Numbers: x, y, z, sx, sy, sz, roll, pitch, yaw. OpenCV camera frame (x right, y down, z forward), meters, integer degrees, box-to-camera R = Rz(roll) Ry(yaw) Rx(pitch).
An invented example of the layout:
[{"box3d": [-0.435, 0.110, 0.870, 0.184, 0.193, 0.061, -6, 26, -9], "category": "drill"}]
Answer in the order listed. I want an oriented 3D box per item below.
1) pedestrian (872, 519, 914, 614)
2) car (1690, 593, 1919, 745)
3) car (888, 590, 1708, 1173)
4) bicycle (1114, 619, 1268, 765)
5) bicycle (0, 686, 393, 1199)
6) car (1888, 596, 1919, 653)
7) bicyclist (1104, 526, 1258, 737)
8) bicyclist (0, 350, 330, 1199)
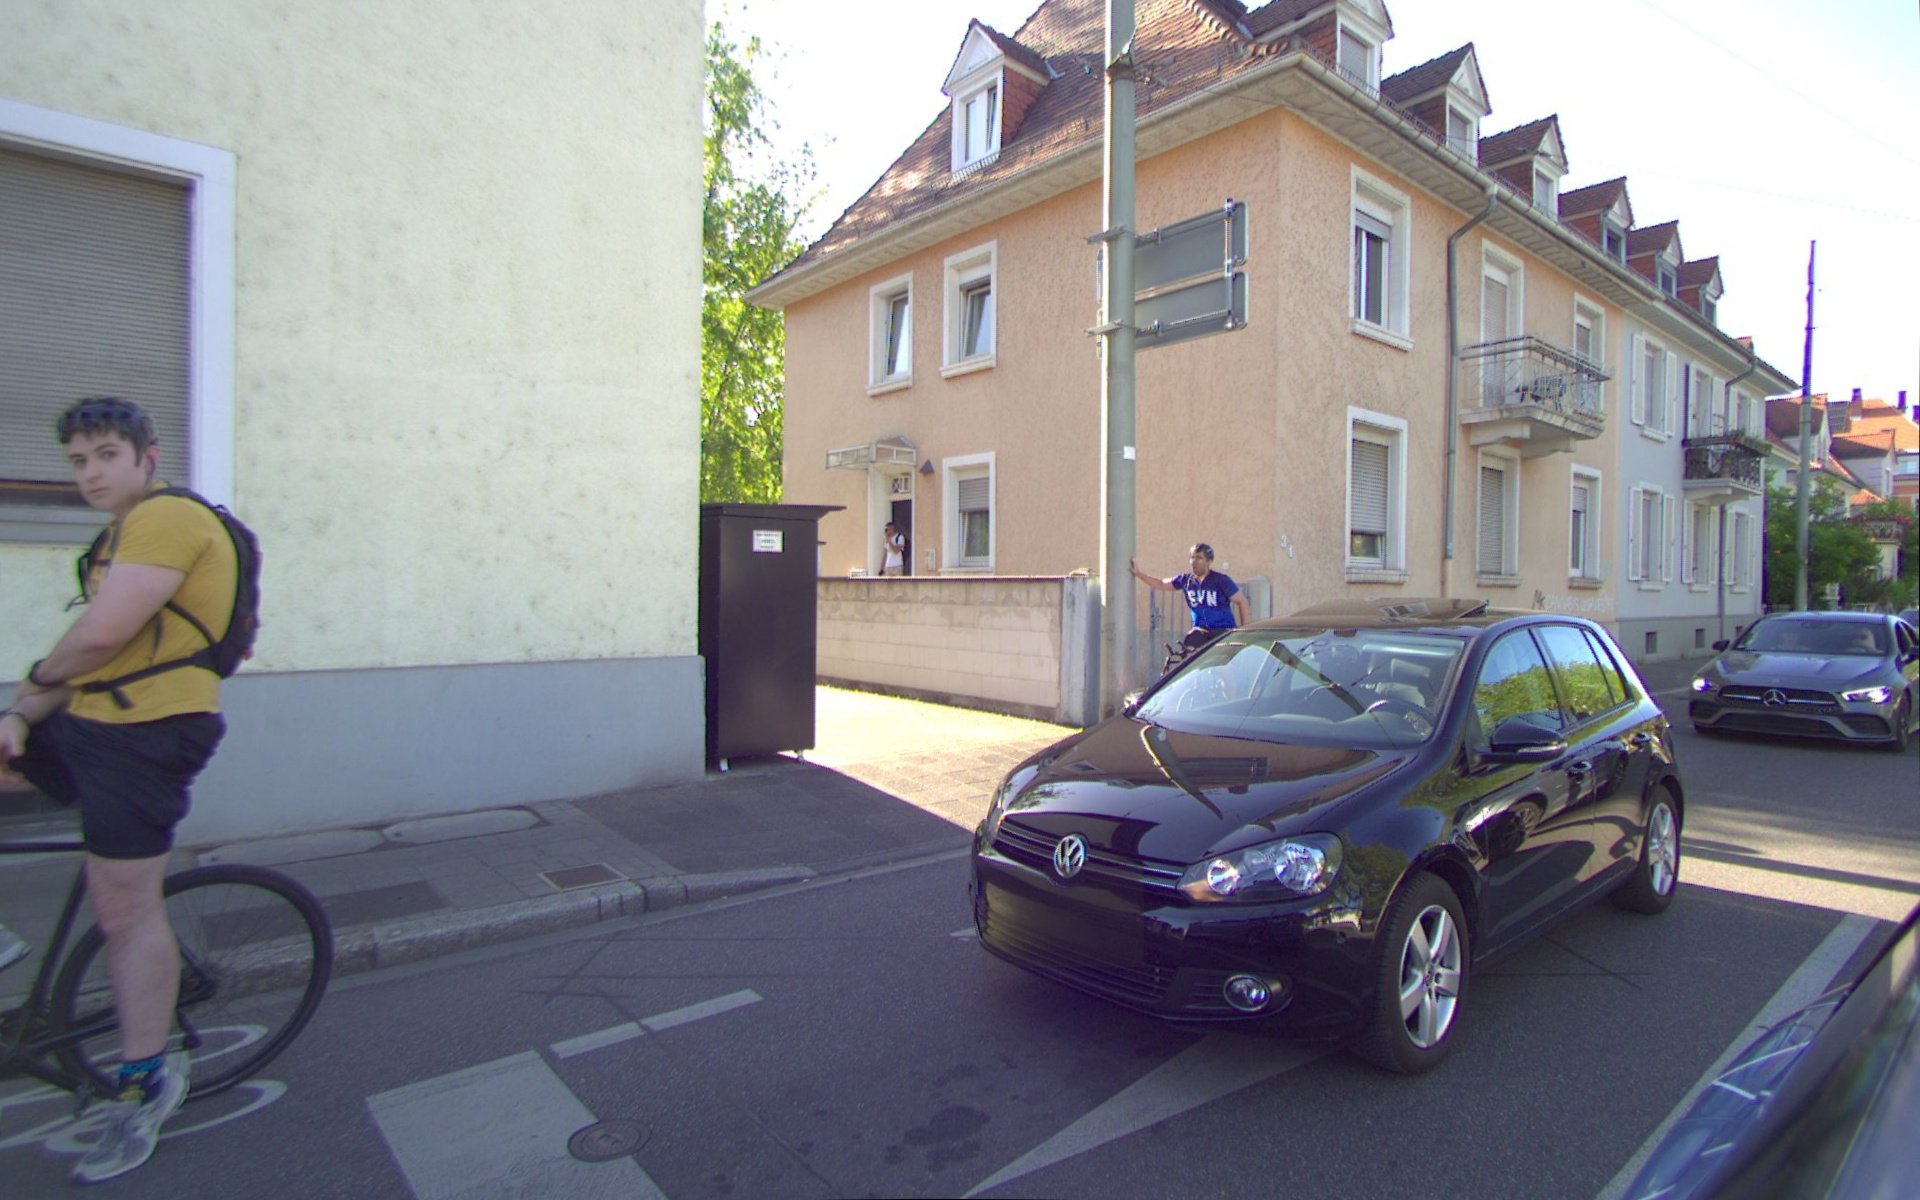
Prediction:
[{"box3d": [-1.214, -0.621, 18.218, 0.598, 1.624, 0.763, 3, 5, -8], "category": "pedestrian"}, {"box3d": [10.256, 0.685, 11.806, 4.410, 1.449, 1.824, 1, 0, -40], "category": "car"}, {"box3d": [1.759, 0.693, 4.498, 3.921, 1.456, 1.716, -1, 0, -41], "category": "car"}, {"box3d": [2.059, 0.754, 8.885, 0.554, 1.088, 1.601, 6, 4, 42], "category": "bicycle"}, {"box3d": [-2.526, 0.862, 2.586, 0.777, 1.120, 1.720, 0, 0, 36], "category": "bicycle"}, {"box3d": [26.748, 0.638, 27.430, 4.258, 1.448, 1.824, -1, 0, -40], "category": "car"}, {"box3d": [1.951, 0.237, 8.982, 1.018, 1.714, 0.718, 6, 4, 42], "category": "bicyclist"}, {"box3d": [-2.309, 0.428, 2.755, 0.777, 1.991, 0.768, 0, 0, 36], "category": "bicyclist"}]
